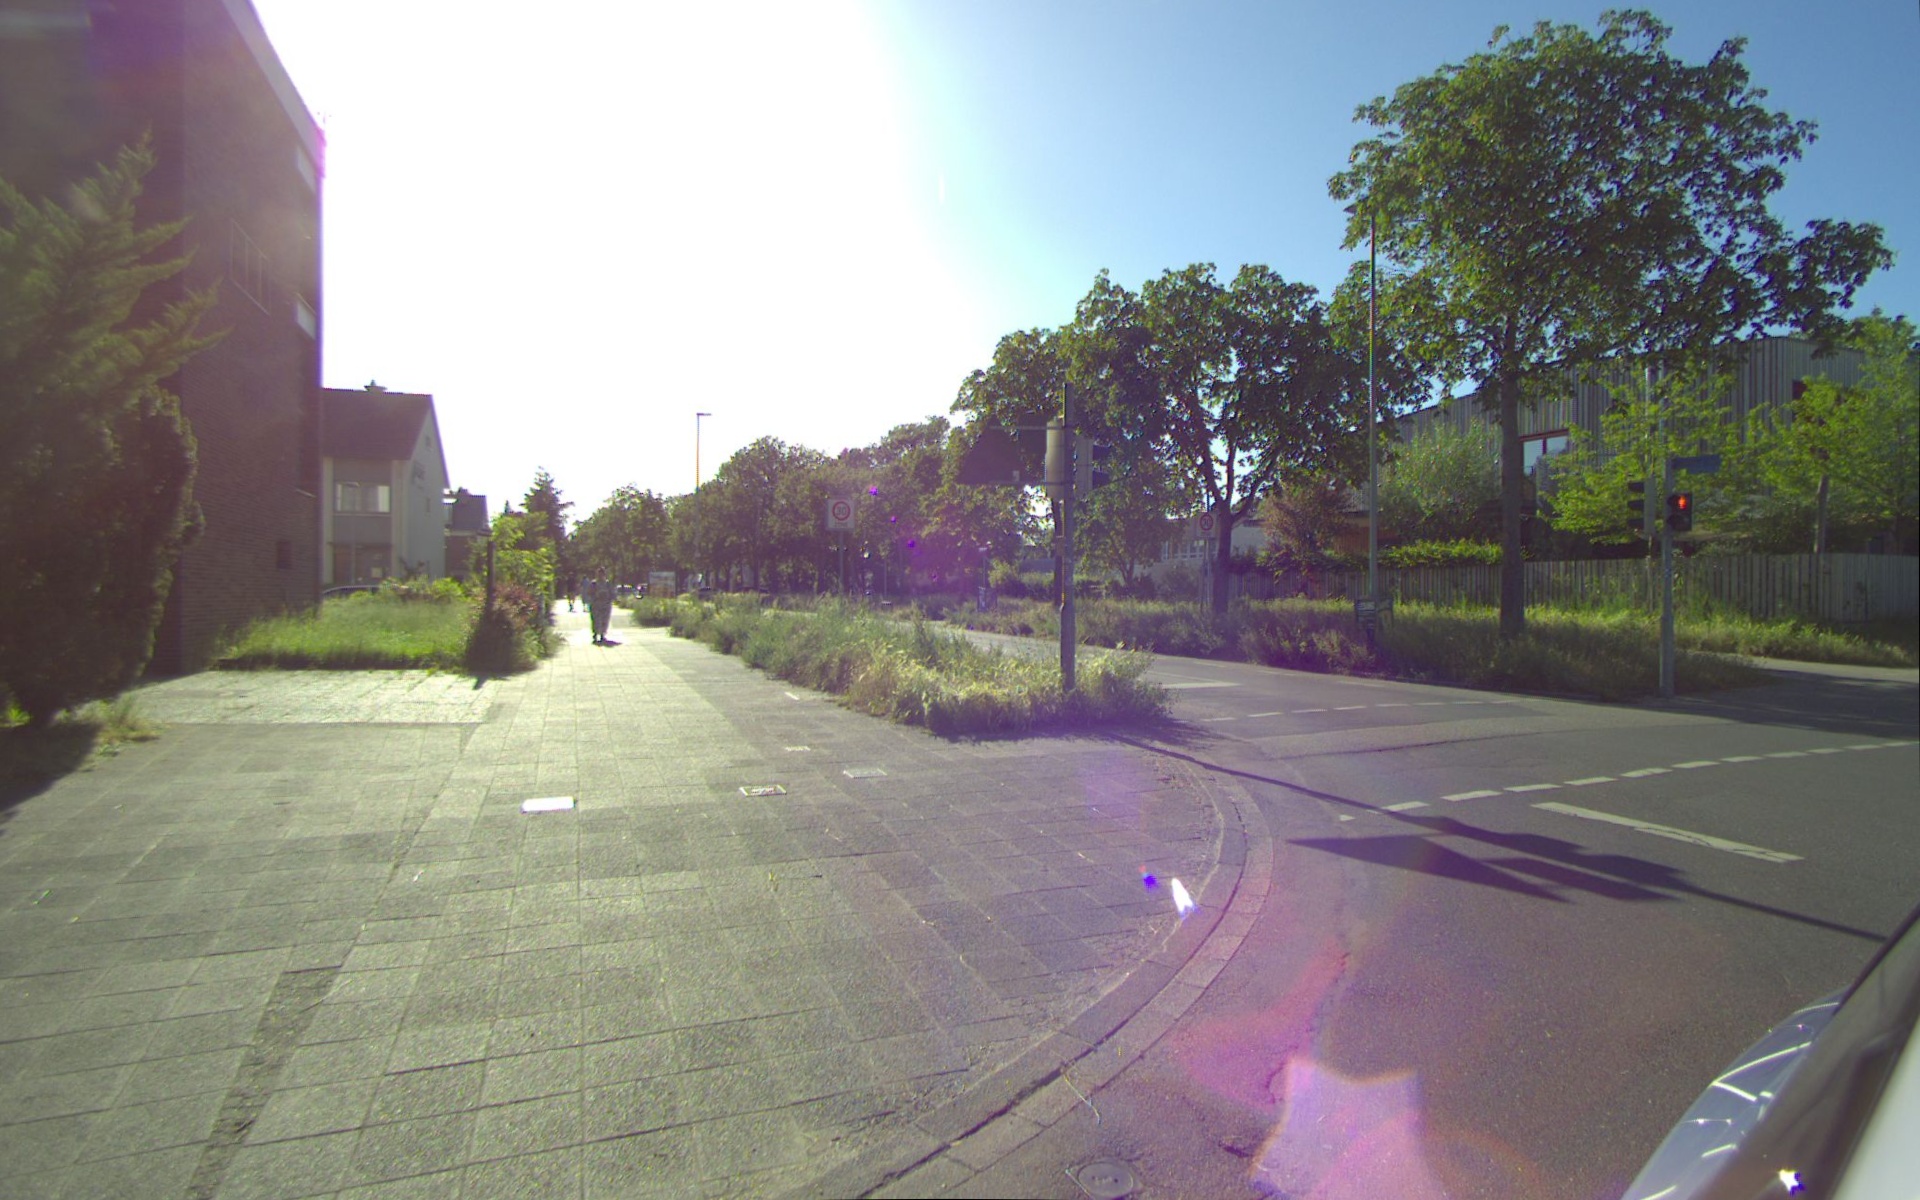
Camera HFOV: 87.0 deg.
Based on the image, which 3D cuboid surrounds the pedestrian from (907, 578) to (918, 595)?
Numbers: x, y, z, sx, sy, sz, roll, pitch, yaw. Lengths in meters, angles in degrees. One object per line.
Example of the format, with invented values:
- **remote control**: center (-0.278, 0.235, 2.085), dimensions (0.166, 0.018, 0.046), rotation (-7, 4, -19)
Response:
- **pedestrian**: center (-3.494, -0.997, 74.402), dimensions (0.627, 1.171, 0.523), rotation (-4, 2, -23)

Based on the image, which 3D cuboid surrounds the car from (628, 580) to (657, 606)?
- **car**: center (-20.666, -0.456, 65.809), dimensions (1.467, 1.593, 3.608), rotation (-2, 2, -21)

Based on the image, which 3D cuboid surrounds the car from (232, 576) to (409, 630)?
- **car**: center (-18.747, 0.069, 29.888), dimensions (4.120, 1.521, 1.810), rotation (-1, 0, -21)

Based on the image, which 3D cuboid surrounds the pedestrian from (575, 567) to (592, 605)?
- **pedestrian**: center (-17.536, -0.642, 47.188), dimensions (0.545, 1.754, 0.662), rotation (-1, 1, -5)

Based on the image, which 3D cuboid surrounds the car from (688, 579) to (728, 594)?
- **car**: center (-27.708, -1.460, 111.288), dimensions (4.119, 1.580, 2.004), rotation (-2, 1, -21)

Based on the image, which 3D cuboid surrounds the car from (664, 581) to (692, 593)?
- **car**: center (-43.280, -2.054, 155.290), dimensions (3.917, 1.771, 1.894), rotation (-2, 2, -22)

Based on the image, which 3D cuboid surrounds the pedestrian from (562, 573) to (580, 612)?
- **pedestrian**: center (-18.124, -0.358, 47.135), dimensions (0.595, 1.754, 0.640), rotation (-1, 1, -5)

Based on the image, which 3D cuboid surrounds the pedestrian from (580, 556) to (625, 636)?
- **pedestrian**: center (-8.499, -0.105, 24.062), dimensions (0.884, 1.844, 0.737), rotation (-2, 1, -27)

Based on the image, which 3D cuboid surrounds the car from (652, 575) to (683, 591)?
- **car**: center (-49.394, -2.895, 170.865), dimensions (5.019, 2.644, 2.130), rotation (-1, 2, -18)
